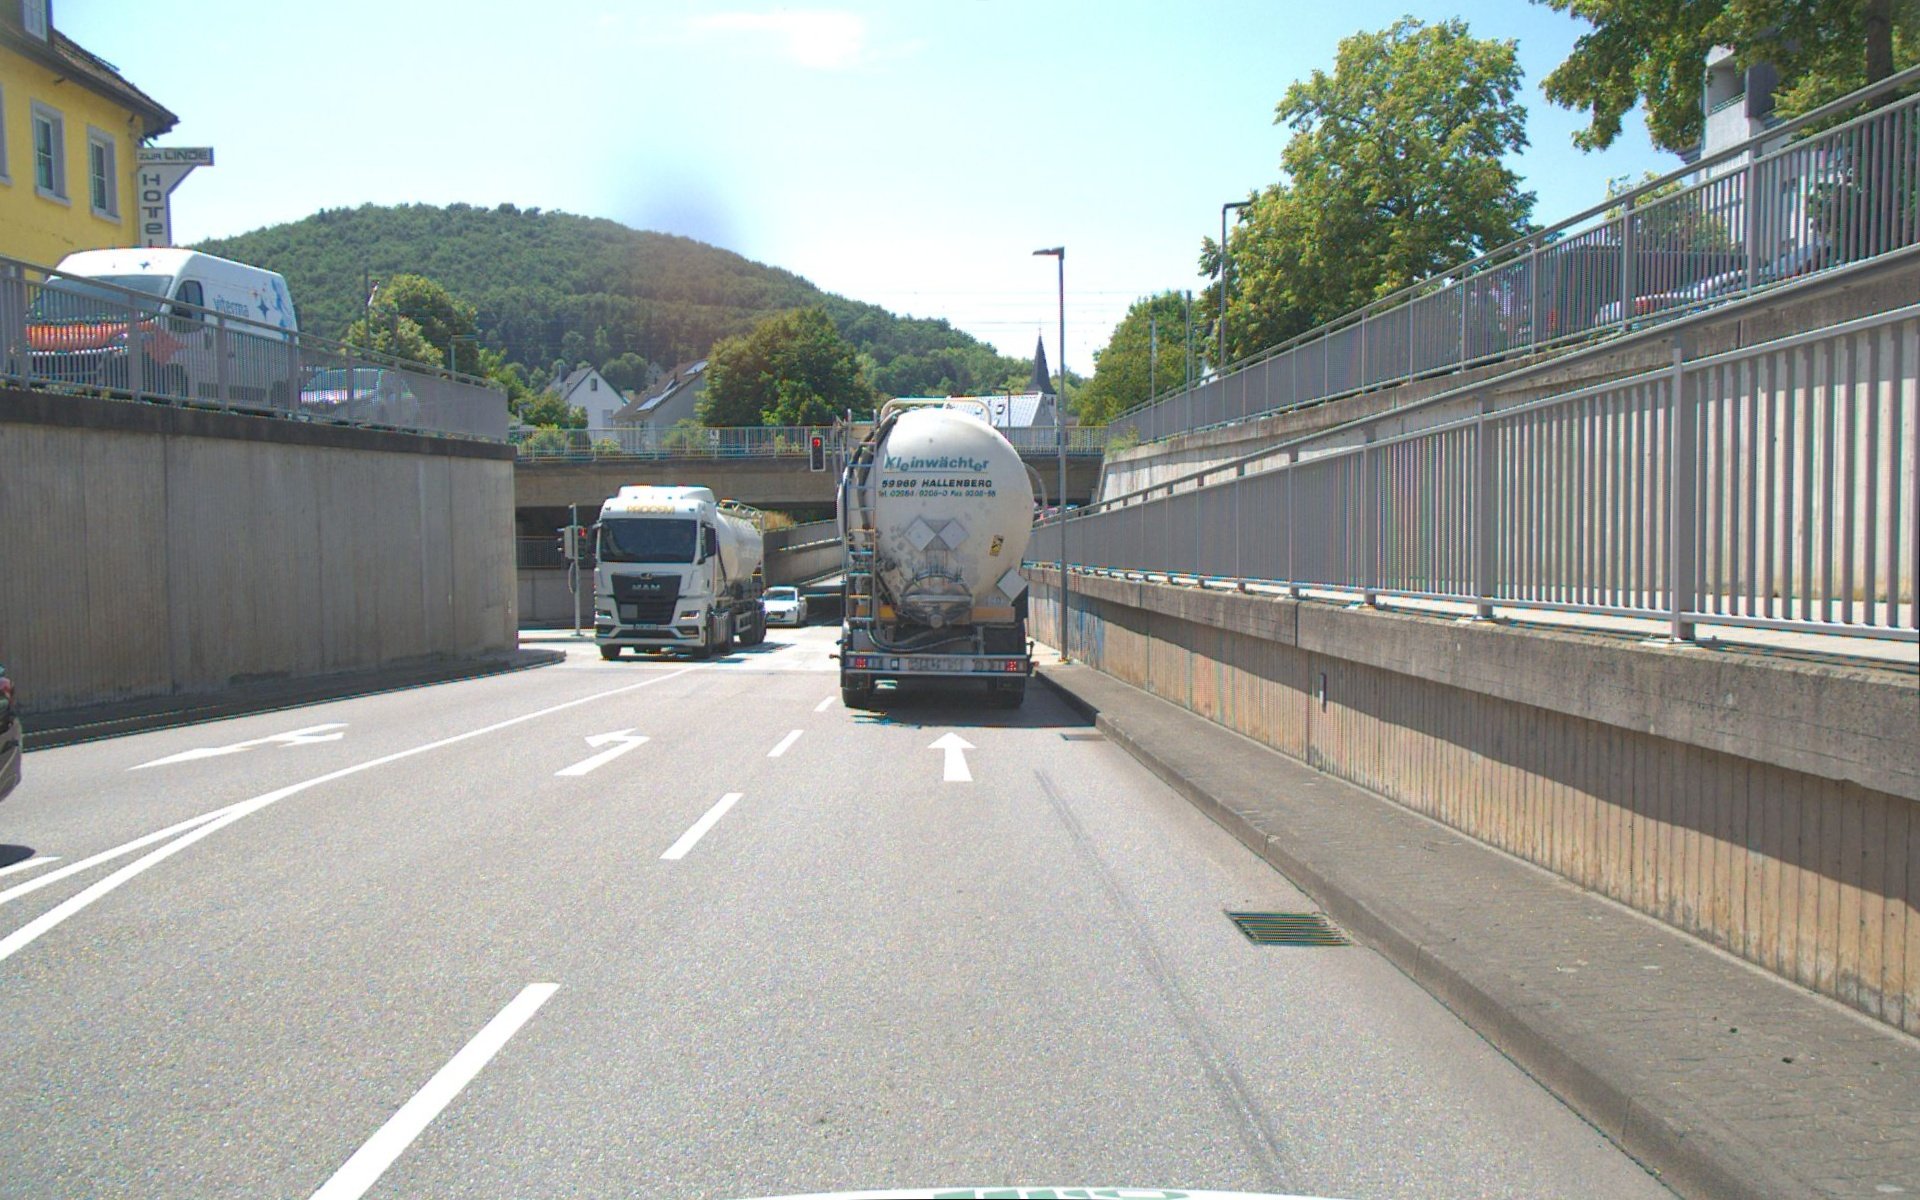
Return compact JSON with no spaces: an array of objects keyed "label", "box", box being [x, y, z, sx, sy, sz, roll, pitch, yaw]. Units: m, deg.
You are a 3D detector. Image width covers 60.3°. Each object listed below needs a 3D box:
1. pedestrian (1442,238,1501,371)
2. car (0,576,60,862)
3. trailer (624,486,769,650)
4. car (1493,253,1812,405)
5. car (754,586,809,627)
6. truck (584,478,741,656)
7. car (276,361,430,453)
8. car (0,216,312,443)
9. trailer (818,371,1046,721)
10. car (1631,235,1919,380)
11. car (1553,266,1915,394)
[{"label":"pedestrian","box":[7.317,-4.218,23.676,0.659,1.810,0.594,-1,3,0]},{"label":"car","box":[-5.948,0.632,7.126,1.724,1.515,4.368,0,0,0]},{"label":"trailer","box":[-7.044,-0.792,45.538,2.557,4.033,9.345,0,0,0]},{"label":"car","box":[9.746,-3.808,23.479,3.826,1.917,1.687,-1,3,0]},{"label":"car","box":[-6.835,0.229,63.569,1.648,1.466,4.093,2,1,0]},{"label":"truck","box":[-7.008,-0.726,39.841,2.607,3.928,6.579,0,0,0]},{"label":"car","box":[-11.727,-3.702,32.222,1.586,1.526,4.045,1,3,-1]},{"label":"car","box":[-11.353,-3.647,23.502,2.023,2.580,5.663,1,3,0]},{"label":"trailer","box":[-0.402,-0.648,26.276,2.679,4.135,13.310,0,0,-1]},{"label":"car","box":[9.807,-3.258,18.609,3.826,1.391,1.687,-1,3,0]},{"label":"car","box":[9.756,-3.404,21.048,3.826,1.391,1.687,-1,3,0]}]
